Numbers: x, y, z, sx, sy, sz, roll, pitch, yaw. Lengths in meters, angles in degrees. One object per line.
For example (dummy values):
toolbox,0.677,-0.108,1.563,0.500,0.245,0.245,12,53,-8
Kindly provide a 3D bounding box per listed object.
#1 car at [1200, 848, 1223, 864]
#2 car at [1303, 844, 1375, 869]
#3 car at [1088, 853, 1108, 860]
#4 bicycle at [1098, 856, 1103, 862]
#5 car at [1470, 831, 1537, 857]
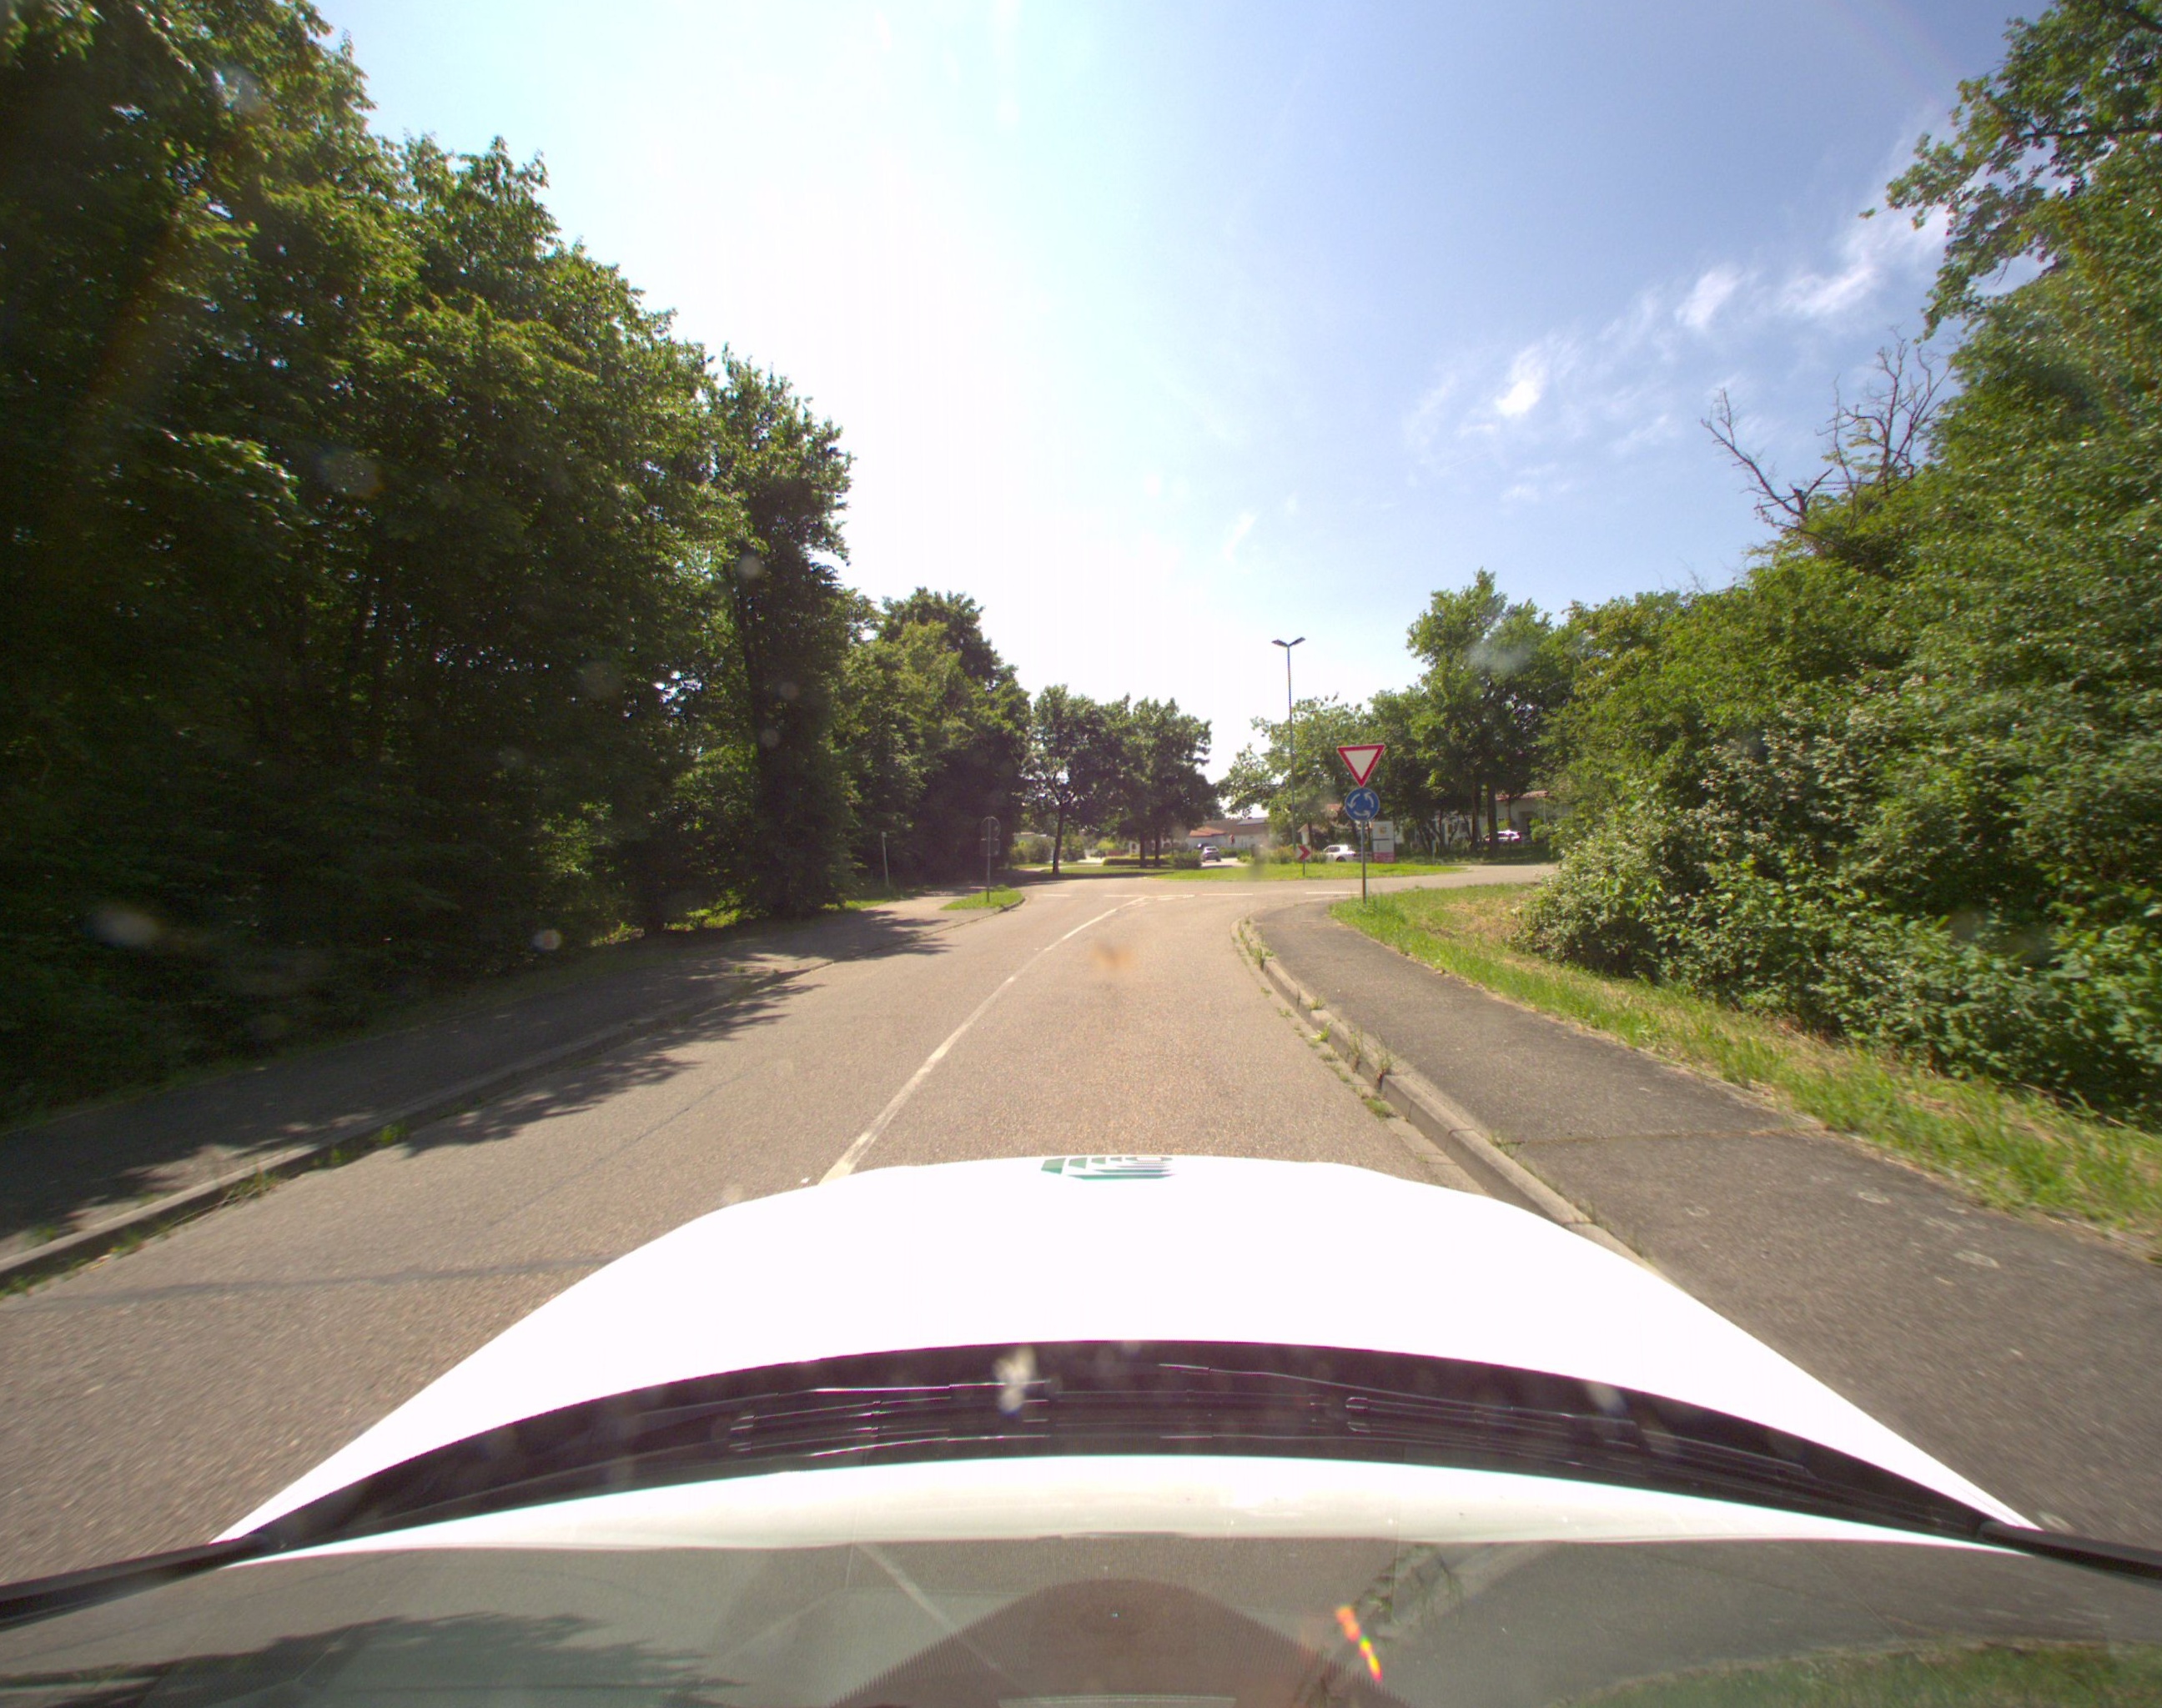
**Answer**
car,12.486,0.179,78.076,1.622,1.486,4.002,-3,0,2
car,14.069,0.163,44.607,1.626,1.288,3.519,-2,0,-33
car,3.141,0.457,153.229,2.005,1.288,3.964,-2,0,-28
bicycle,2.806,0.699,116.969,0.595,0.929,1.620,-2,0,0
car,30.980,-0.714,59.847,1.672,1.705,4.102,-2,0,-31
